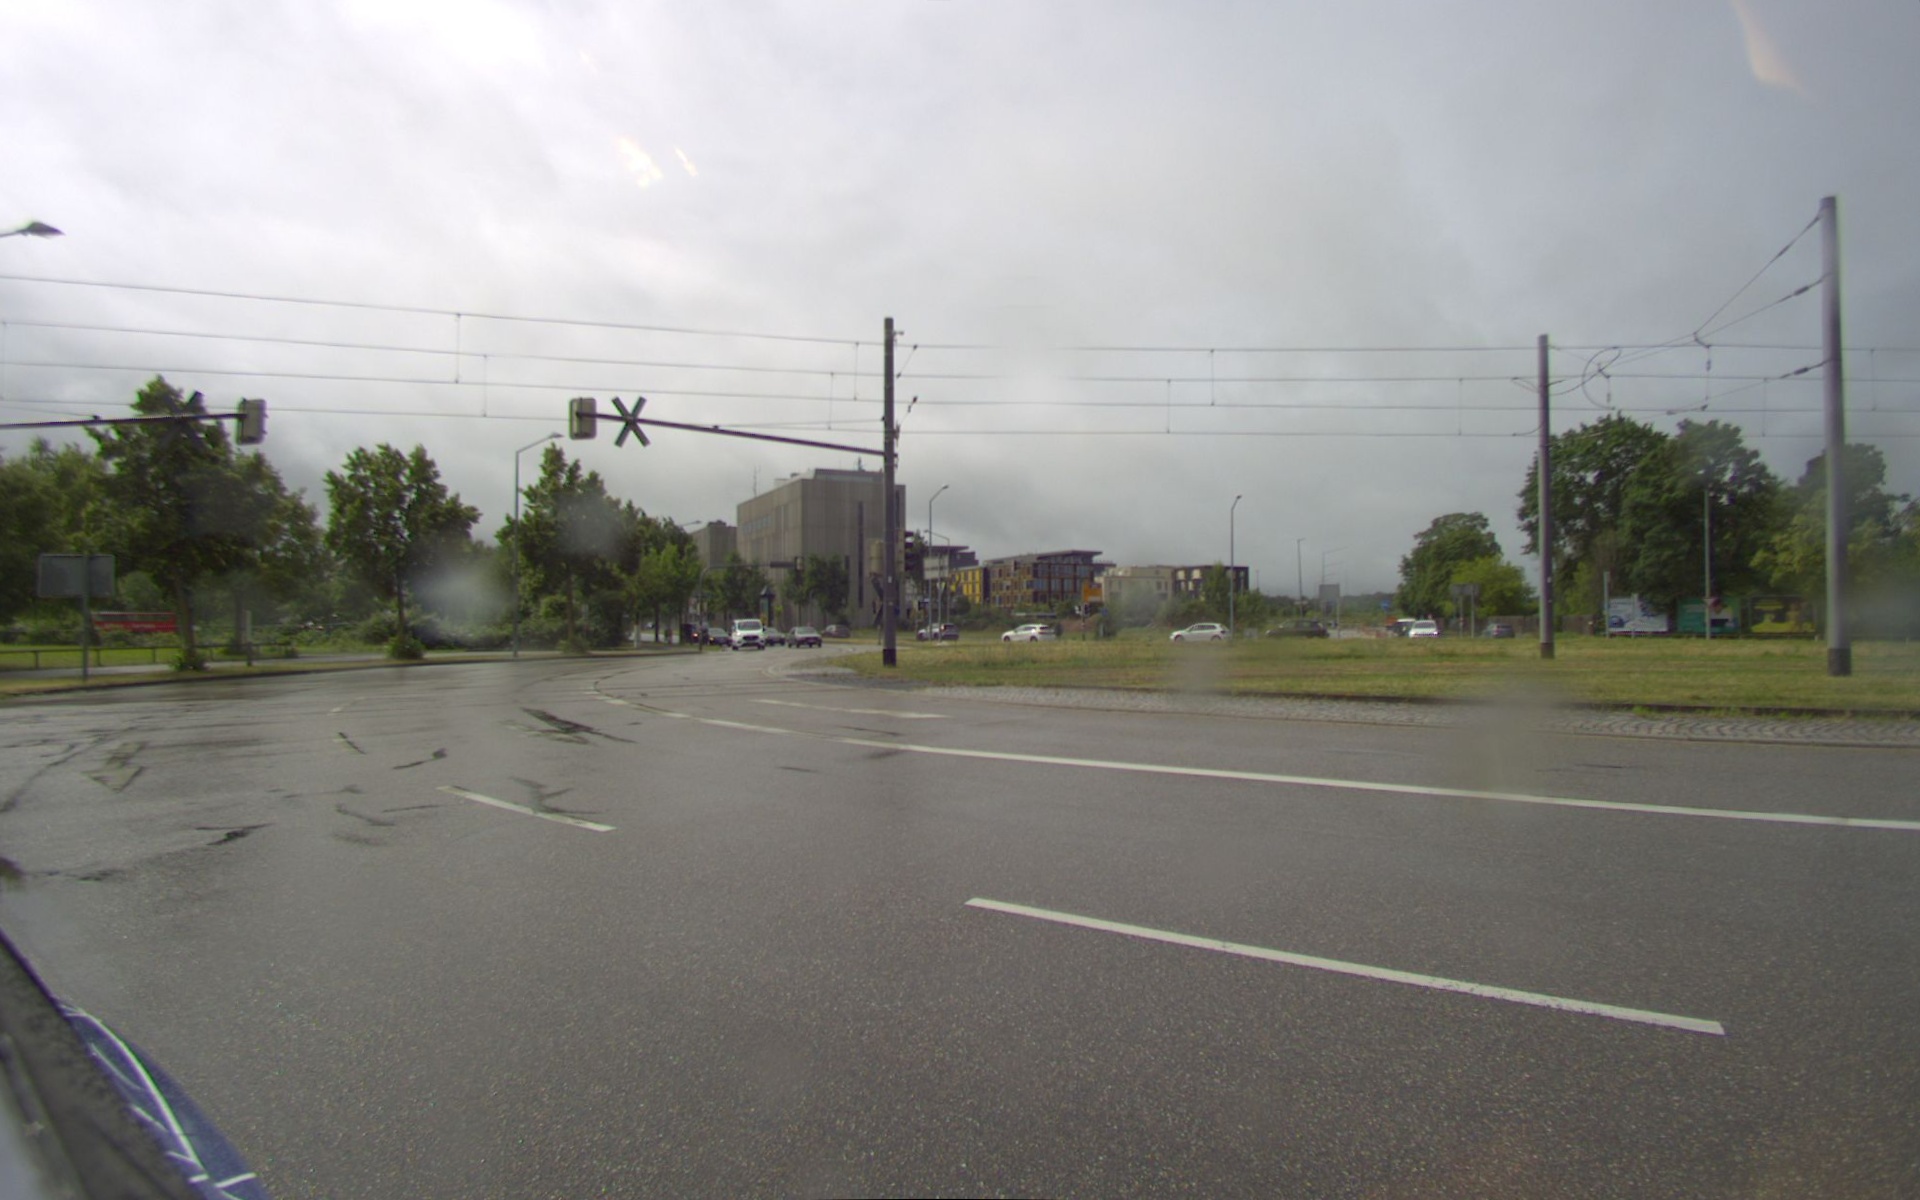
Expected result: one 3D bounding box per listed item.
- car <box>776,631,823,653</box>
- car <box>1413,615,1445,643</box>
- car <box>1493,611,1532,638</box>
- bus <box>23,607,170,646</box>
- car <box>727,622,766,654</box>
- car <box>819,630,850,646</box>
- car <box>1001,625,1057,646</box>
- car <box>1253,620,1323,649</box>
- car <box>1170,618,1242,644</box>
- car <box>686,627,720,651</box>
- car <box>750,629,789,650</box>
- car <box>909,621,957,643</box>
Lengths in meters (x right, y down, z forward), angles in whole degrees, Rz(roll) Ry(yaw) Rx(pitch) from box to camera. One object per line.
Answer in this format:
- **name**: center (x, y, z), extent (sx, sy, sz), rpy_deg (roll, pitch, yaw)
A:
- **car**: center (-10.886, 2.803, 68.462), extent (1.835, 1.391, 4.566), rpy_deg (-1, -1, -27)
- **car**: center (31.509, 1.955, 67.940), extent (1.866, 1.829, 3.965), rpy_deg (-1, -1, 25)
- **car**: center (44.014, 1.975, 80.717), extent (1.984, 2.029, 3.974), rpy_deg (-3, -2, 19)
- **bus**: center (-84.460, 2.532, 99.309), extent (10.804, 3.486, 2.005), rpy_deg (-1, -3, -35)
- **car**: center (-14.310, 2.540, 67.575), extent (2.043, 2.003, 4.815), rpy_deg (0, -3, -18)
- **car**: center (-11.913, 3.632, 96.075), extent (1.705, 1.424, 4.141), rpy_deg (0, -3, -24)
- **car**: center (4.939, 2.544, 72.720), extent (1.701, 1.519, 3.907), rpy_deg (2, -3, -44)
- **car**: center (19.467, 2.026, 60.044), extent (3.798, 1.685, 1.852), rpy_deg (-1, -1, 24)
- **car**: center (16.583, 2.084, 68.270), extent (4.451, 1.685, 1.848), rpy_deg (0, -2, 29)
- **car**: center (-22.351, 3.373, 87.976), extent (2.042, 2.003, 4.815), rpy_deg (1, -3, -24)
- **car**: center (-14.758, 3.019, 78.161), extent (1.835, 1.547, 4.502), rpy_deg (1, -1, -26)
- **car**: center (-2.263, 2.638, 83.462), extent (1.844, 1.676, 4.494), rpy_deg (0, -3, -35)
